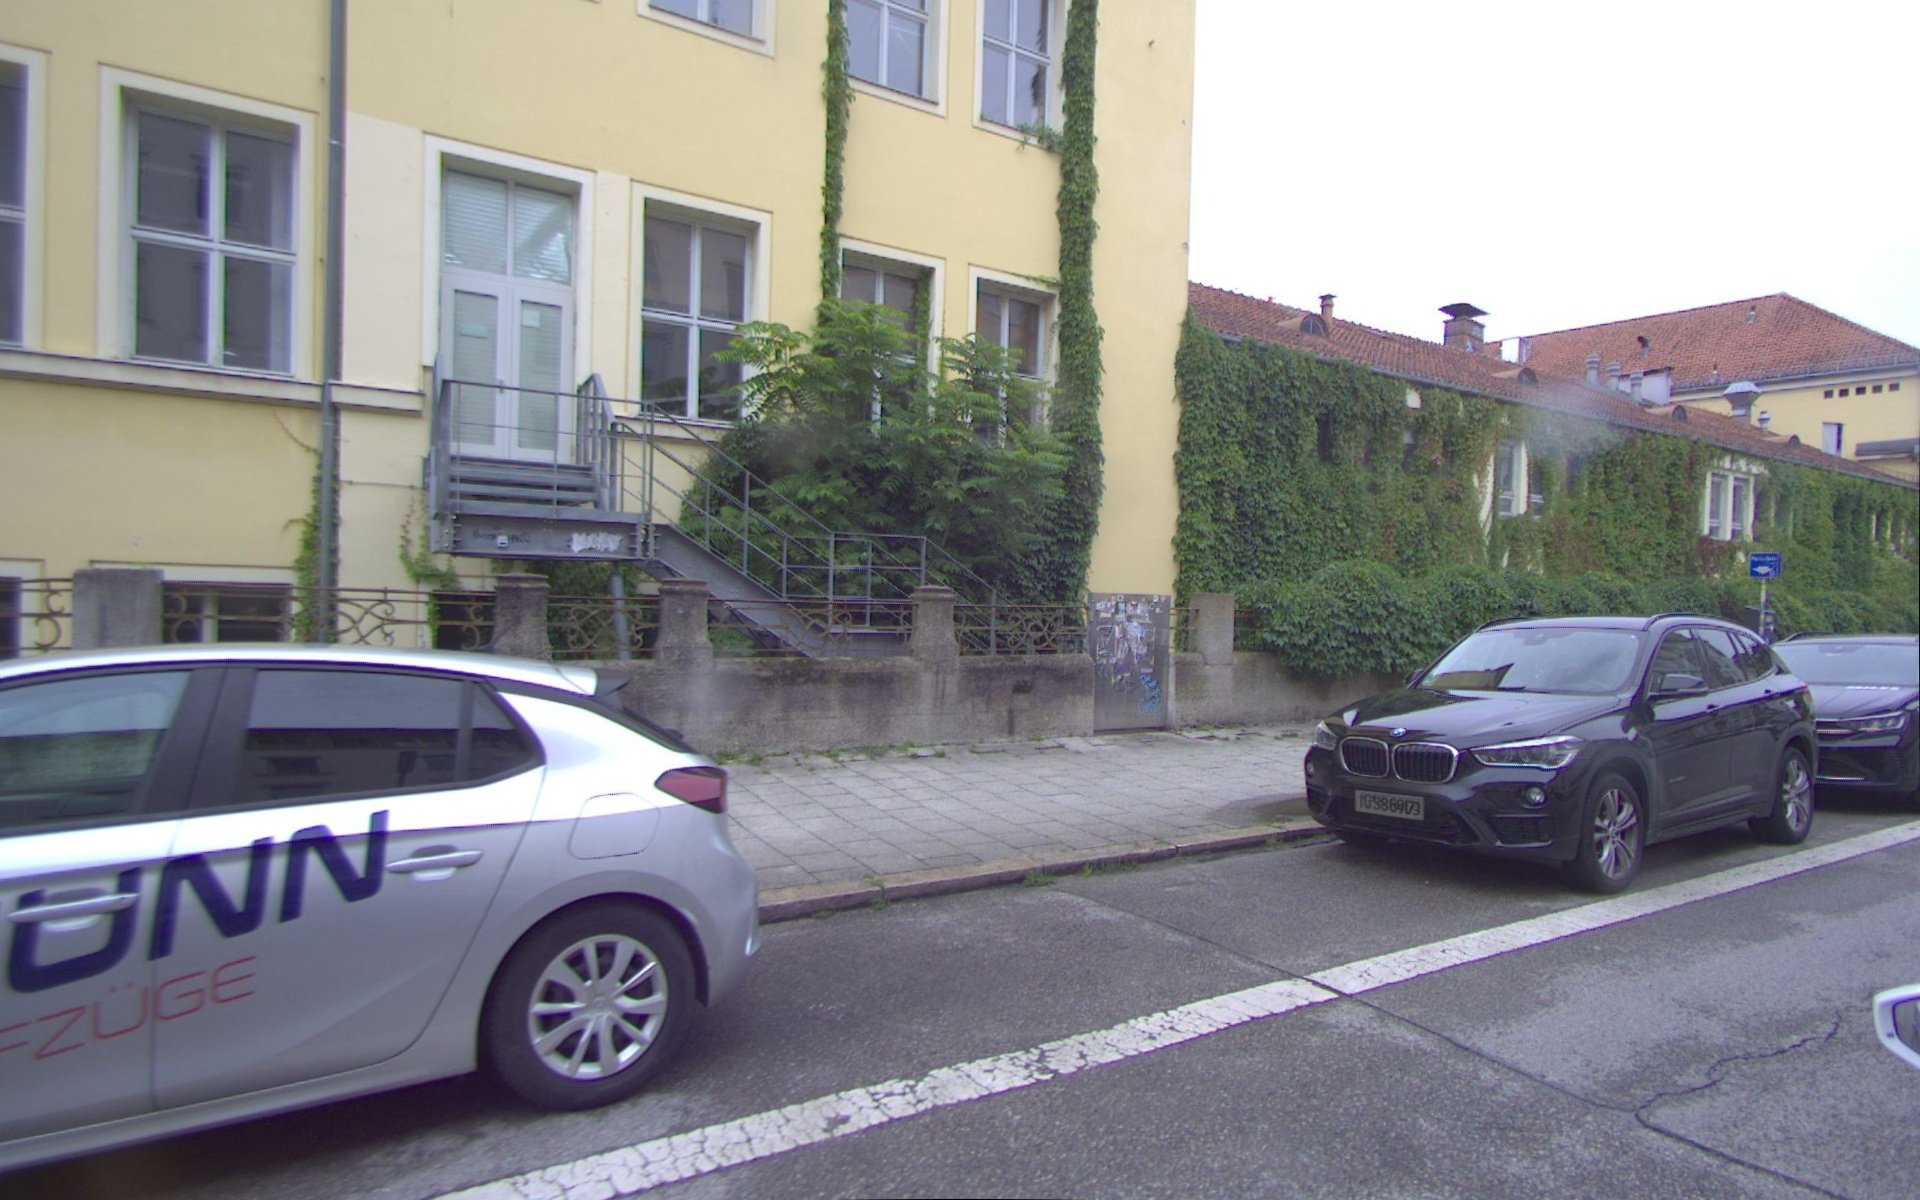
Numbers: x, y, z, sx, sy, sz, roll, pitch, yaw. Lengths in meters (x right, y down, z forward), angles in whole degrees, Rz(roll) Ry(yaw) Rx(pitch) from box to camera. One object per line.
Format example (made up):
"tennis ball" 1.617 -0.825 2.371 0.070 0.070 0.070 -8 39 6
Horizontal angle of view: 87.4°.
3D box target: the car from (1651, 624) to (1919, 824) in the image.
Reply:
"car" 8.653 1.039 9.730 4.104 1.558 1.772 1 -3 -33

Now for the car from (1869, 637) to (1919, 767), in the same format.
"car" 12.732 1.182 12.187 3.862 1.474 1.570 1 -3 -33

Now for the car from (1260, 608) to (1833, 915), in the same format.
"car" 4.203 0.908 7.027 4.150 1.558 1.772 1 -3 -33

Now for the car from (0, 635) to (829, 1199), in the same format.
"car" -2.509 0.858 3.090 3.851 1.444 1.671 1 -4 -32
